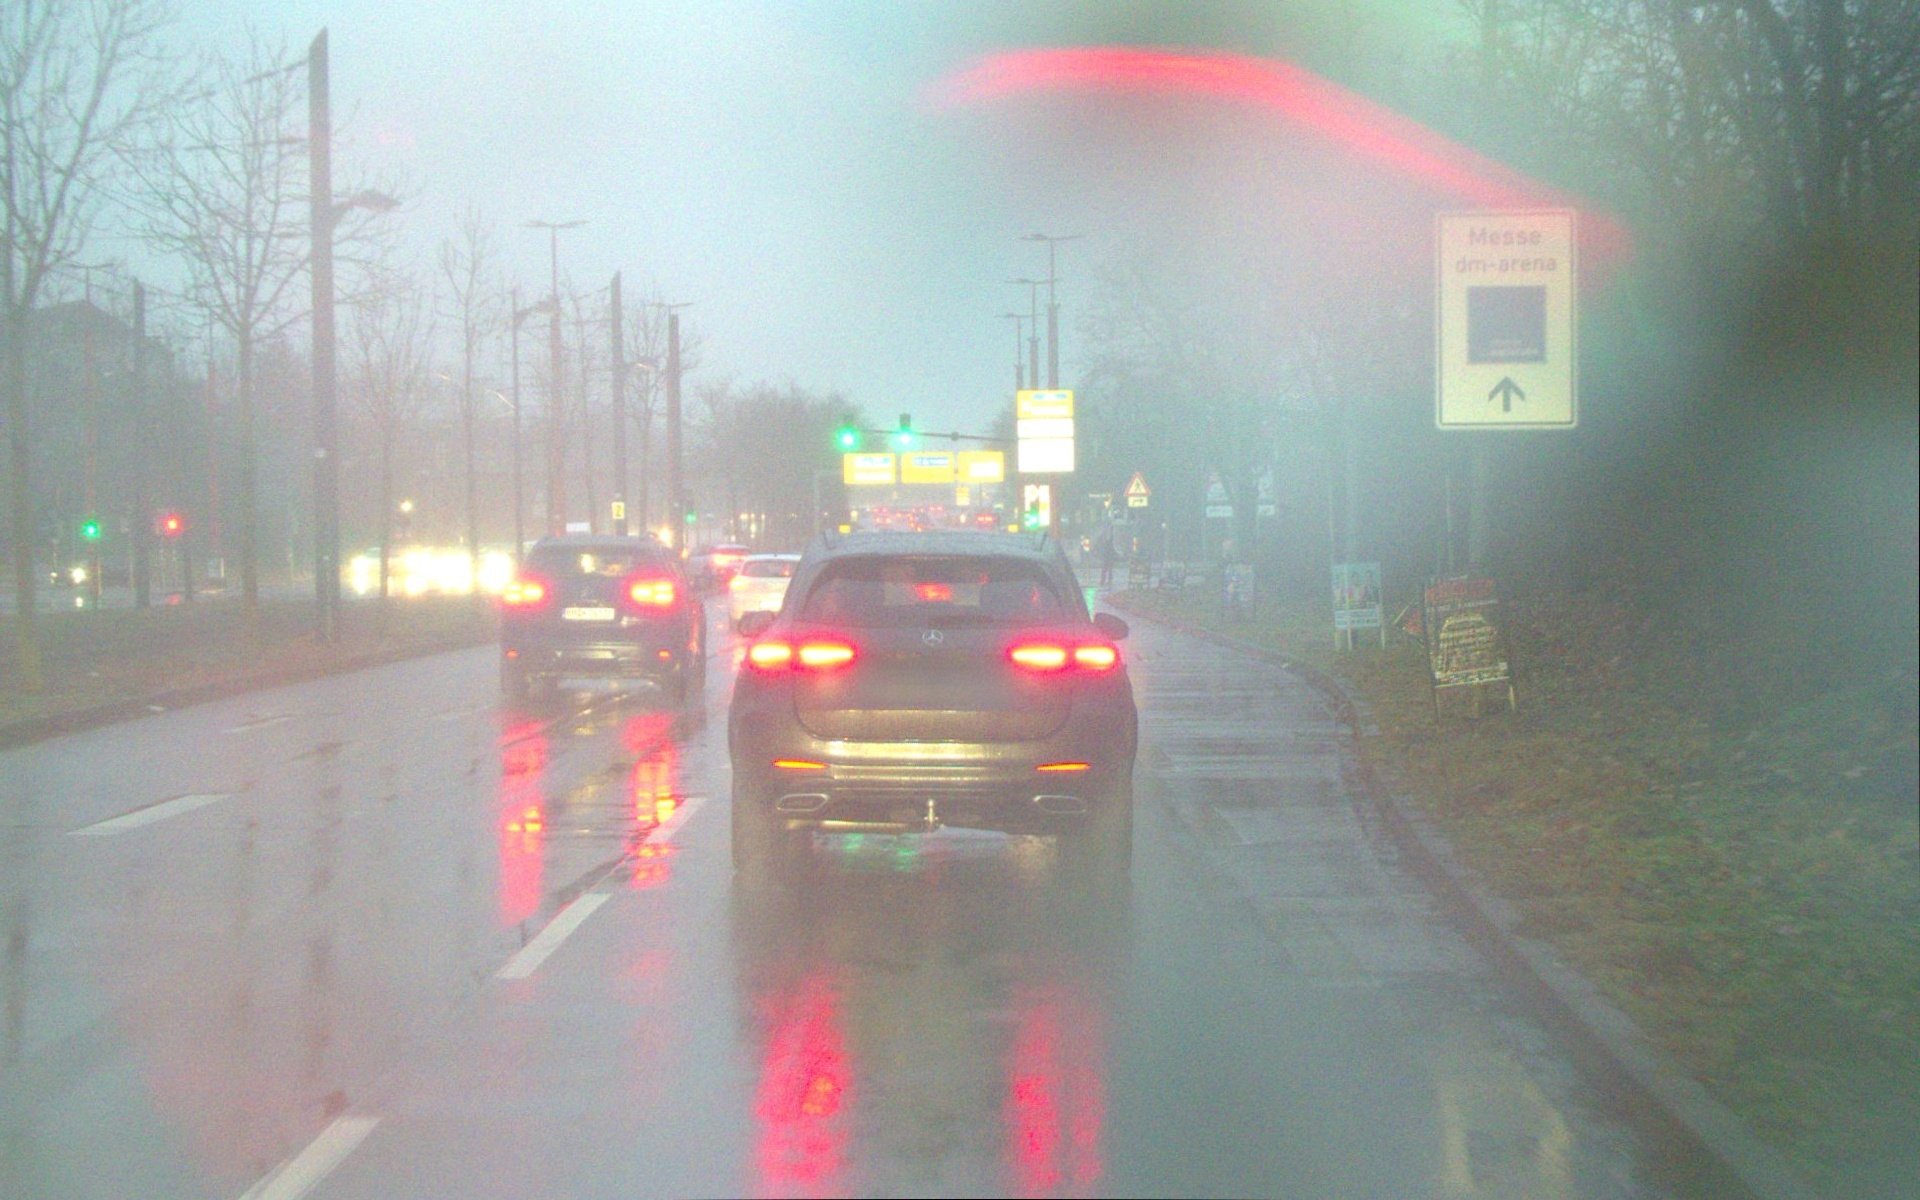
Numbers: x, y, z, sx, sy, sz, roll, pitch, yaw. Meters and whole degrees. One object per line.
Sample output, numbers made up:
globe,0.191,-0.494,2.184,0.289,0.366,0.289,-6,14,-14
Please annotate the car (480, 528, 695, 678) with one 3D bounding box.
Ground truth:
car,-3.785,-0.012,35.520,1.880,1.454,4.000,0,1,-1

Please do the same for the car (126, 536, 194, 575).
car,-34.686,-1.923,149.191,1.993,1.652,4.000,1,0,0

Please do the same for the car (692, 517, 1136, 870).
car,-0.231,0.390,17.582,1.998,1.578,4.000,1,1,-1

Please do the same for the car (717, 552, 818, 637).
car,-3.583,-0.132,64.648,1.708,1.552,3.996,0,1,0

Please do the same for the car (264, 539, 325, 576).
car,-30.263,-1.923,156.448,1.993,1.652,4.000,1,0,0

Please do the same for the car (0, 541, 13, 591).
car,-32.801,-1.139,113.453,1.993,1.652,4.000,1,0,0
